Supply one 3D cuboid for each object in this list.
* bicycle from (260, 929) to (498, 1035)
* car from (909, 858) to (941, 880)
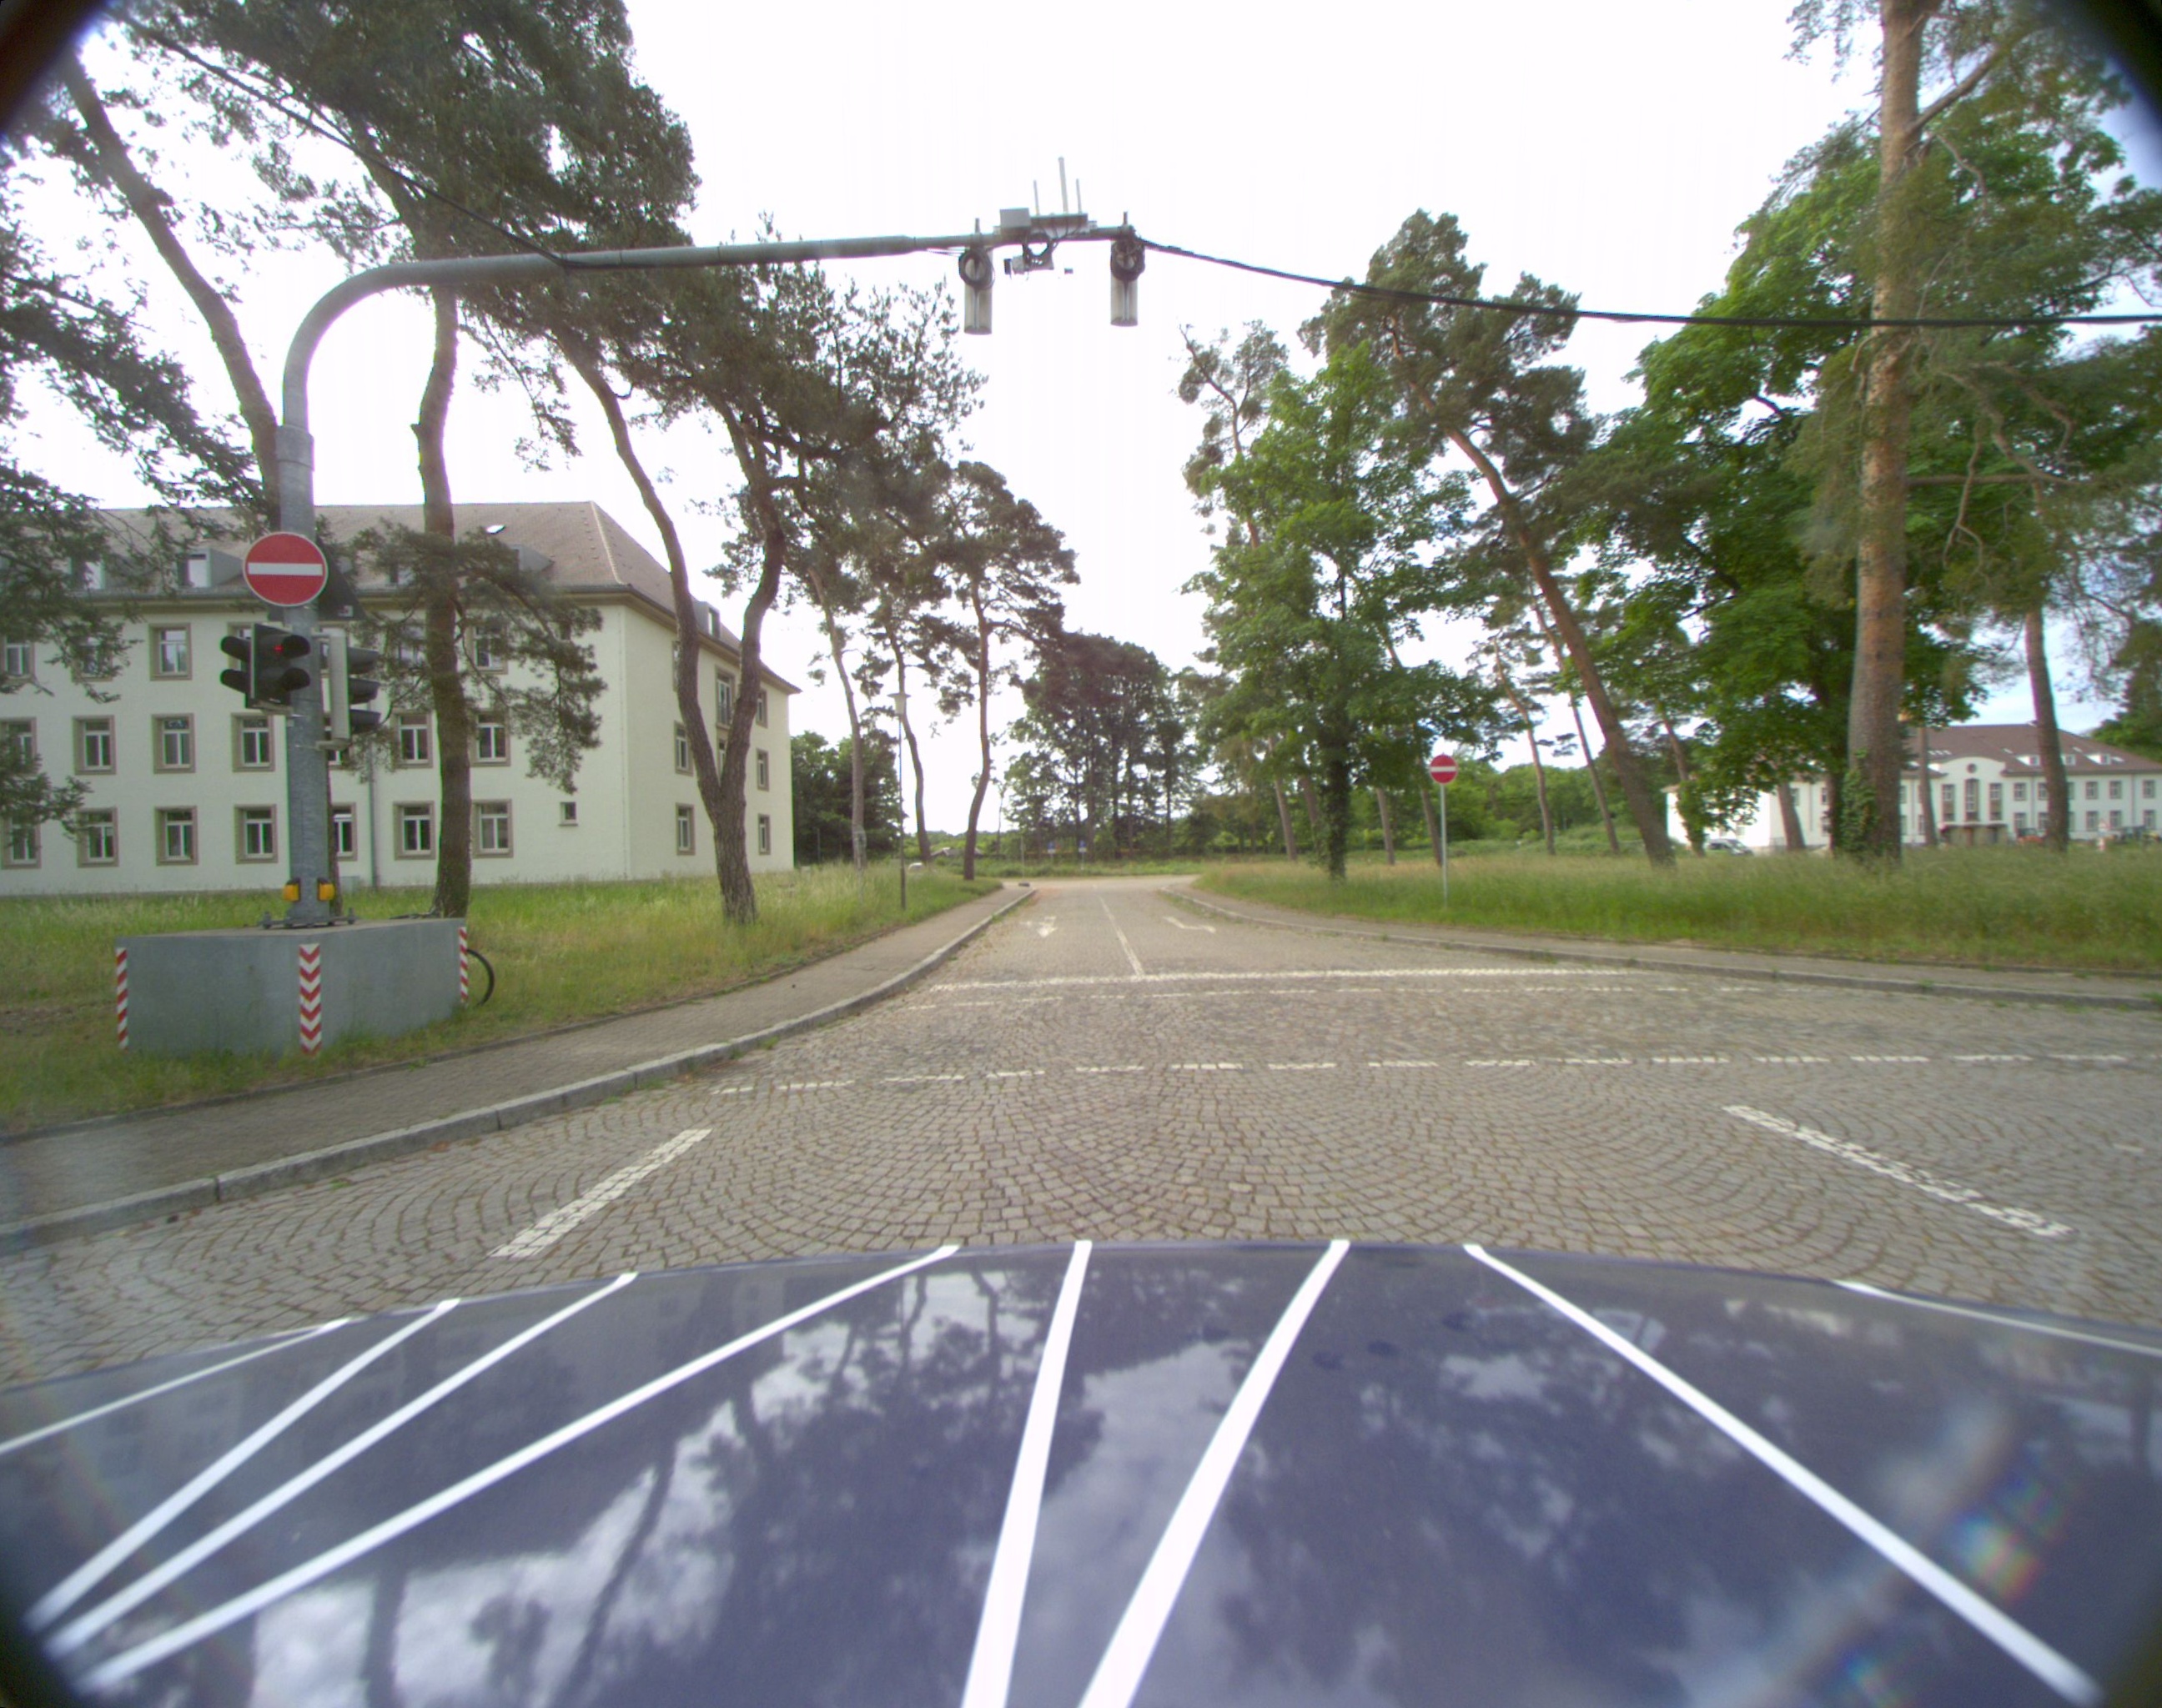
[{"bbox_3d":[-6.651,1.203,7.247,1.704,0.869,0.573,-1,1,0],"label":"bicycle"},{"bbox_3d":[-11.699,1.123,57.193,1.641,1.426,3.277,-1,2,0],"label":"car"}]
